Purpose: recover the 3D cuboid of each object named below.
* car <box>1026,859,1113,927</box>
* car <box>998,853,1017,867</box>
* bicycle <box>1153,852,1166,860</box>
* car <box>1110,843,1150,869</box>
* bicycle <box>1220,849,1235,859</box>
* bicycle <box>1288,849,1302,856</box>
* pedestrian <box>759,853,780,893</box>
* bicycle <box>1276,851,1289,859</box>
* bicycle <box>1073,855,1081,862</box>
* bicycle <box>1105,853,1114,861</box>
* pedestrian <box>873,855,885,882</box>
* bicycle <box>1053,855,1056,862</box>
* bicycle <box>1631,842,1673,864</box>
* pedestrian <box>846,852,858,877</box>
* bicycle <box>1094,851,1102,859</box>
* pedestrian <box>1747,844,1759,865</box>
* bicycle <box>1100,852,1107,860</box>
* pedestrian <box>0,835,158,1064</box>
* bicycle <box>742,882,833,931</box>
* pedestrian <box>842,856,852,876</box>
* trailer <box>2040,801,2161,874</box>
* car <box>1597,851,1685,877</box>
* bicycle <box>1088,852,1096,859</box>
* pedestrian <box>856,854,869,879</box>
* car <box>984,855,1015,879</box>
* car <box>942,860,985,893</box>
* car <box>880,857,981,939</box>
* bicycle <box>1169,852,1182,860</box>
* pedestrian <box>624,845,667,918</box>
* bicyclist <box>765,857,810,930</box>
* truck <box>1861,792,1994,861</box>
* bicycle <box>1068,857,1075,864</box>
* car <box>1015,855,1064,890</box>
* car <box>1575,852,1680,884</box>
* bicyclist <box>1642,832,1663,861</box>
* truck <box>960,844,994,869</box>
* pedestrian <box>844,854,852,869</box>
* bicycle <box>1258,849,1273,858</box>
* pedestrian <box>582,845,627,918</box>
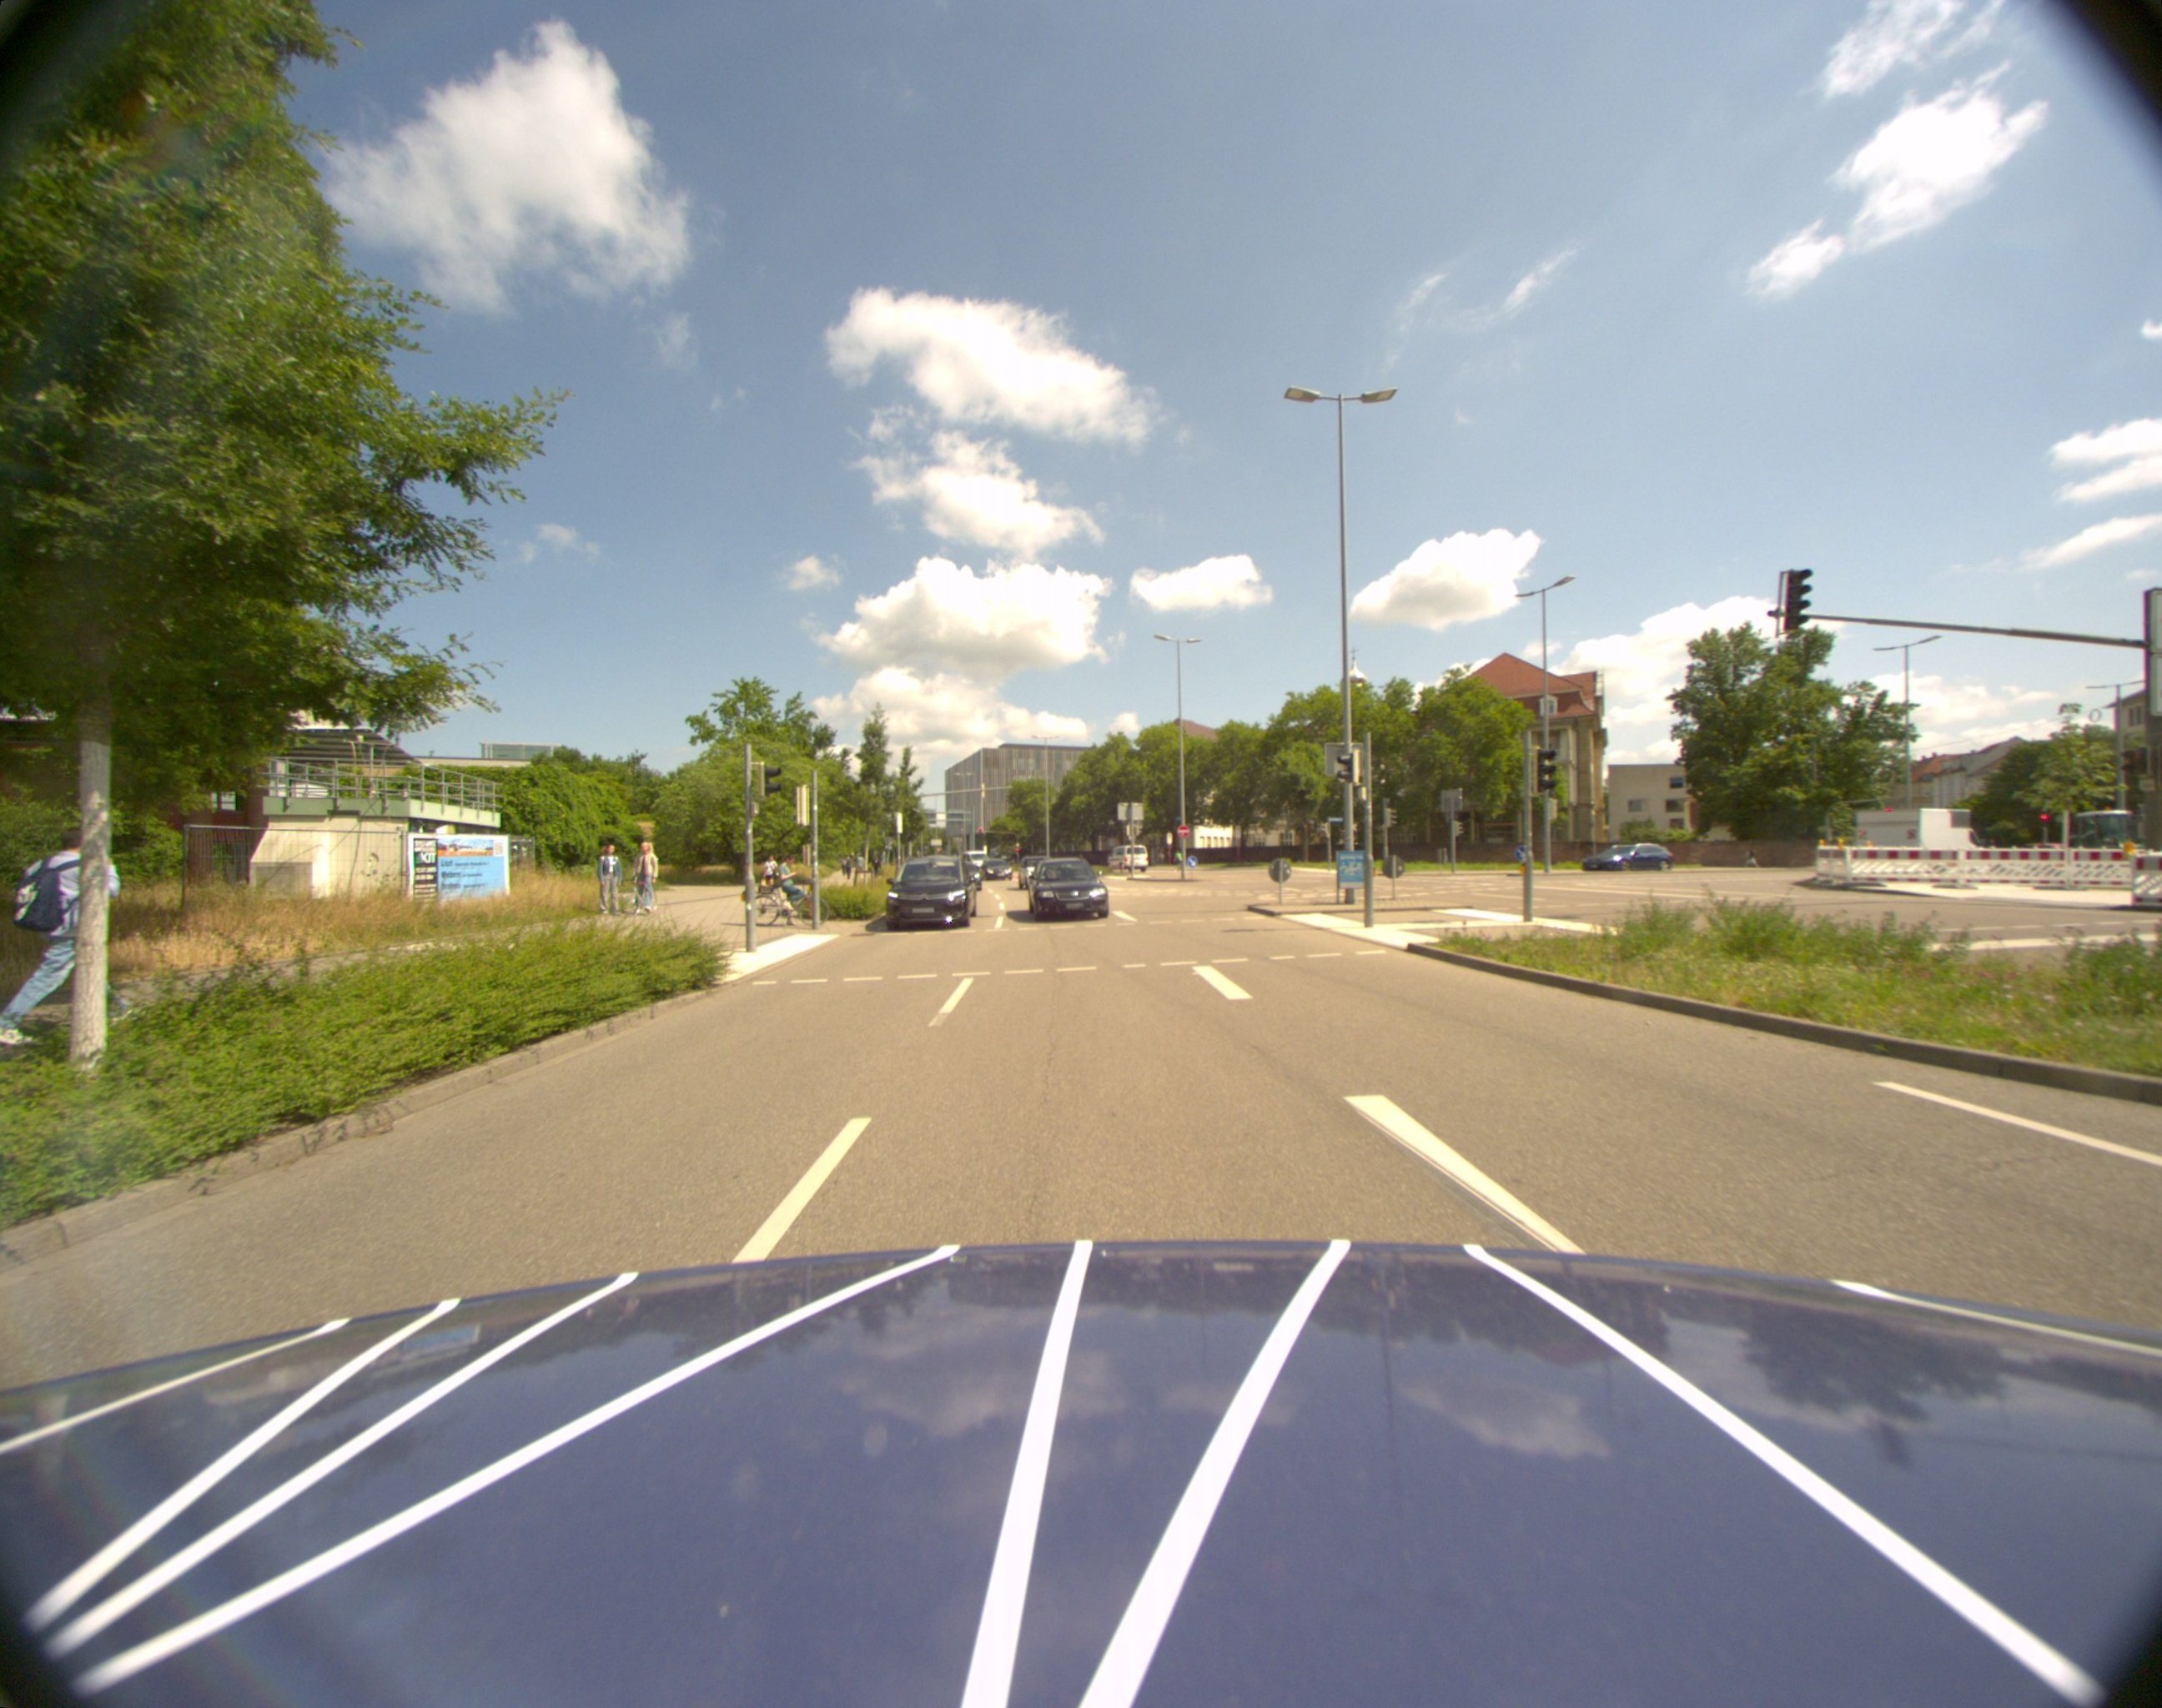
[{"bbox_3d":[-0.415,0.887,19.225,1.752,1.426,4.518,-3,0,-6],"label":"car"},{"bbox_3d":[-11.548,1.001,119.771,2.217,2.158,4.514,0,0,-15],"label":"car"},{"bbox_3d":[10.270,0.209,99.475,0.399,1.037,1.953,-1,0,-37],"label":"bicycle"},{"bbox_3d":[3.668,0.135,58.028,1.887,1.883,4.865,-1,0,-10],"label":"car"},{"bbox_3d":[17.423,0.011,90.399,0.399,1.130,2.033,-1,1,-41],"label":"bicycle"},{"bbox_3d":[23.582,-0.137,83.772,0.399,0.784,1.540,-1,1,-44],"label":"bicycle"},{"bbox_3d":[-12.788,0.779,31.201,0.753,1.587,0.880,1,0,-25],"label":"pedestrian"},{"bbox_3d":[22.530,0.111,84.887,0.399,0.784,1.462,-1,1,-44],"label":"bicycle"},{"bbox_3d":[-0.630,0.717,117.252,0.383,1.101,1.666,-1,0,-30],"label":"bicycle"},{"bbox_3d":[4.122,0.431,108.731,0.398,1.037,1.757,-1,0,-31],"label":"bicycle"},{"bbox_3d":[-13.114,0.954,49.273,0.669,1.739,0.846,1,0,-18],"label":"pedestrian"},{"bbox_3d":[-4.358,0.779,124.343,0.382,1.101,1.671,-1,0,4],"label":"bicycle"},{"bbox_3d":[31.188,-0.070,41.492,2.069,1.140,0.666,-2,2,-15],"label":"bicycle"},{"bbox_3d":[-16.091,0.762,53.384,0.669,1.736,0.608,1,0,-23],"label":"pedestrian"},{"bbox_3d":[2.483,0.159,111.488,0.383,1.037,1.666,-1,0,-30],"label":"bicycle"},{"bbox_3d":[54.474,0.007,61.617,0.678,1.686,0.489,-1,2,34],"label":"pedestrian"},{"bbox_3d":[3.275,0.301,110.117,0.378,1.037,1.413,-1,0,-31],"label":"bicycle"},{"bbox_3d":[-8.653,0.763,6.401,0.759,1.810,0.779,2,0,-15],"label":"pedestrian"},{"bbox_3d":[-6.641,1.184,17.263,1.816,1.044,0.591,2,1,-10],"label":"bicycle"},{"bbox_3d":[-20.611,1.049,66.918,0.752,1.739,0.666,1,0,-18],"label":"pedestrian"},{"bbox_3d":[44.133,-0.718,32.389,1.996,2.897,4.371,-1,1,19],"label":"trailer"},{"bbox_3d":[33.417,0.577,45.372,4.514,1.477,1.997,-1,0,-18],"label":"car"},{"bbox_3d":[1.639,0.262,113.000,0.383,1.037,1.666,-1,0,-30],"label":"bicycle"},{"bbox_3d":[-15.509,0.876,53.904,0.753,1.767,0.880,1,0,-23],"label":"pedestrian"},{"bbox_3d":[-5.632,0.859,52.021,1.753,1.496,4.516,-3,0,-9],"label":"car"},{"bbox_3d":[-5.858,1.058,37.479,1.767,1.409,4.359,-3,0,-12],"label":"car"},{"bbox_3d":[-3.454,0.927,18.280,1.863,1.613,4.518,-3,0,-6],"label":"car"},{"bbox_3d":[12.041,0.215,96.903,0.399,1.037,1.953,-1,0,-37],"label":"bicycle"},{"bbox_3d":[-10.872,0.672,18.987,0.752,1.792,0.609,0,0,-11],"label":"pedestrian"},{"bbox_3d":[-6.656,0.889,17.251,0.830,1.592,0.579,2,1,-10],"label":"bicyclist"},{"bbox_3d":[41.050,-1.360,36.806,7.338,3.050,1.996,-2,2,-23],"label":"truck"},{"bbox_3d":[-1.491,0.955,118.719,0.383,1.101,1.666,-1,0,-28],"label":"bicycle"},{"bbox_3d":[-2.073,0.836,37.016,1.753,1.496,4.516,-3,0,-11],"label":"car"},{"bbox_3d":[26.901,0.661,37.394,4.673,1.477,1.996,-1,0,-22],"label":"car"},{"bbox_3d":[31.203,-0.416,41.481,0.647,1.524,0.666,-2,2,-15],"label":"bicyclist"},{"bbox_3d":[-10.676,0.247,77.641,2.465,2.287,5.807,-3,0,-16],"label":"truck"},{"bbox_3d":[-28.255,0.884,92.123,0.845,1.755,0.840,-2,2,-18],"label":"pedestrian"},{"bbox_3d":[21.014,-0.039,86.408,0.399,1.024,1.682,-1,1,-44],"label":"bicycle"},{"bbox_3d":[-11.600,0.666,18.517,0.752,1.742,0.609,0,0,-11],"label":"pedestrian"}]
